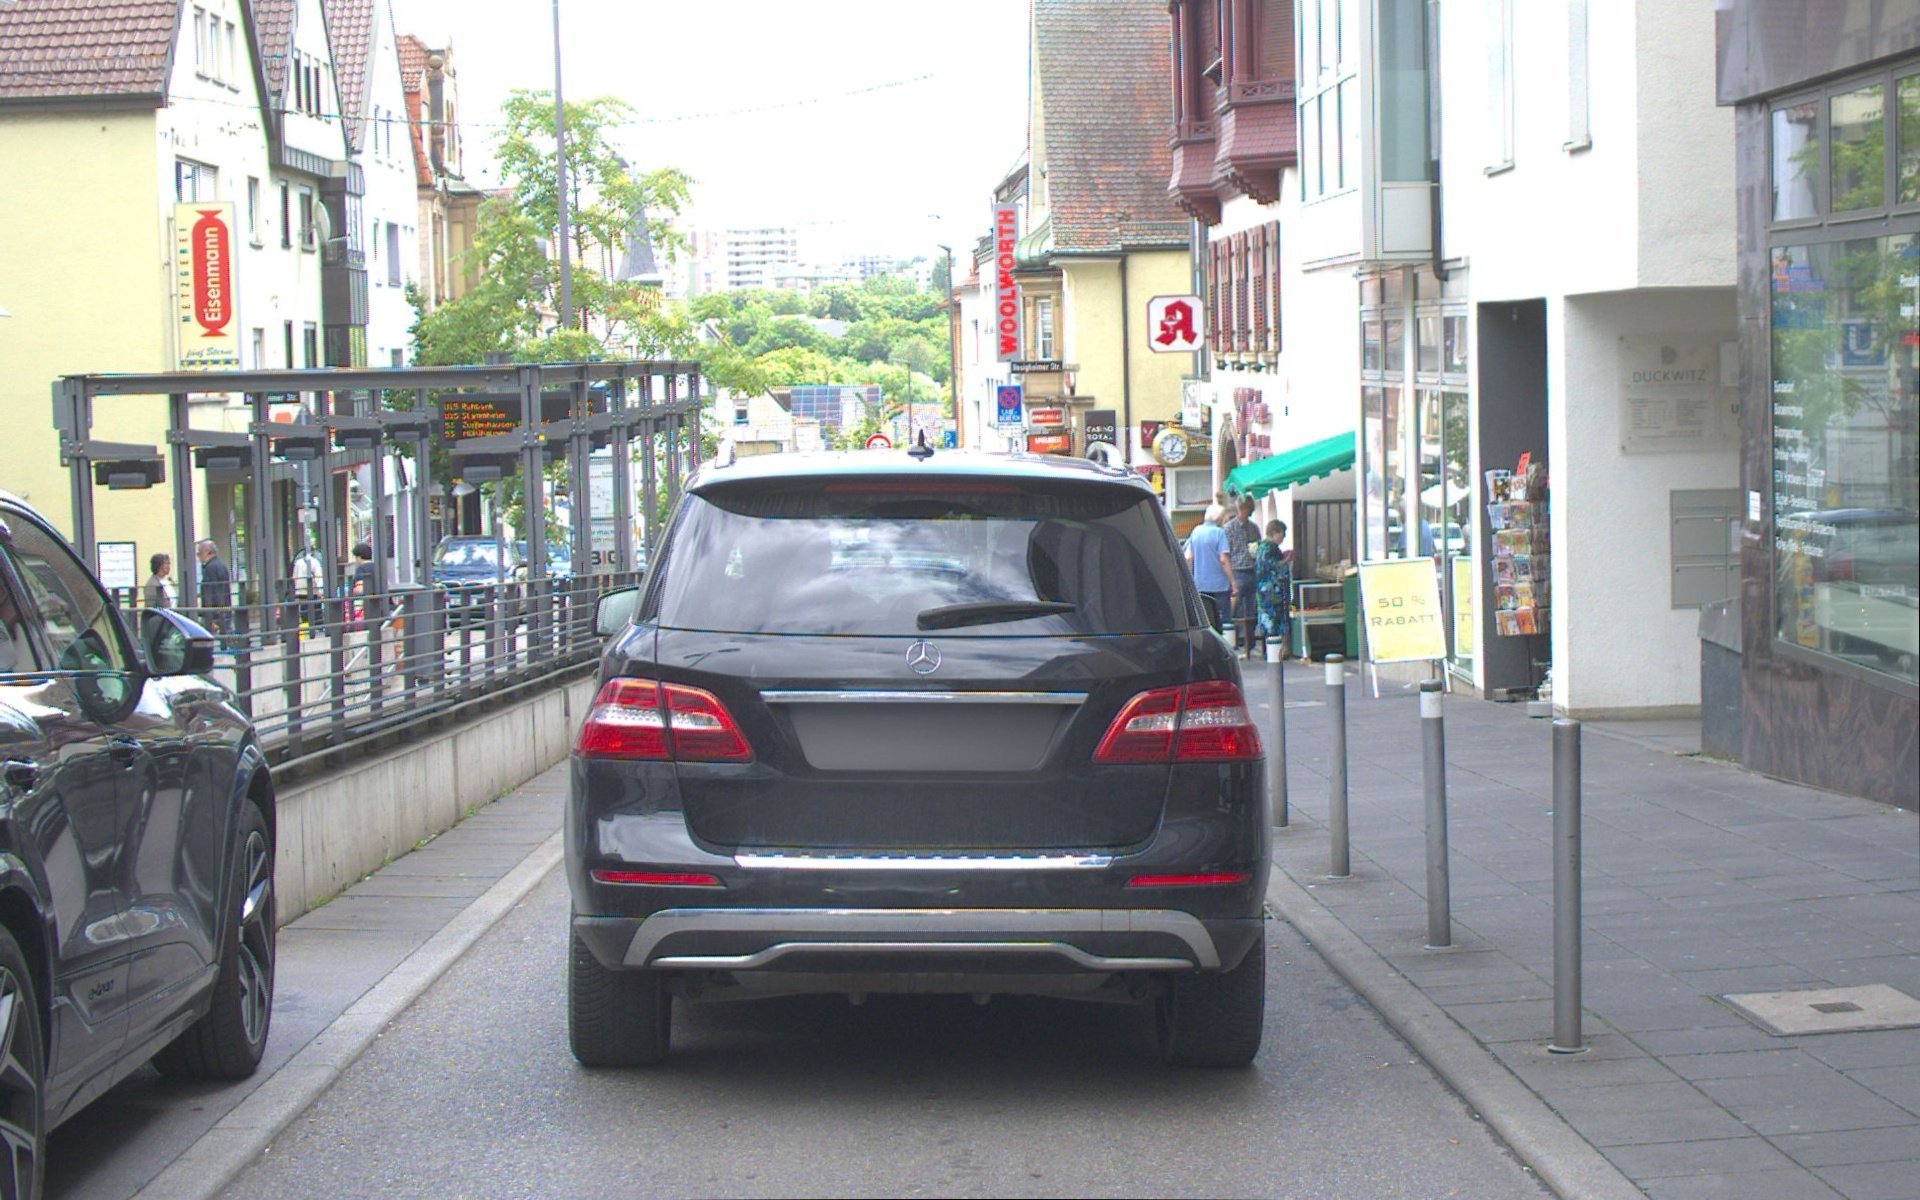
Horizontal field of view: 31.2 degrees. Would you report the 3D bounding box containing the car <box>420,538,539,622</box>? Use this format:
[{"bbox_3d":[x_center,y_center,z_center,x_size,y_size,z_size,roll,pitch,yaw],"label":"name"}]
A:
[{"bbox_3d":[-8.843,-0.390,63.538,1.689,1.485,3.979,1,1,-1],"label":"car"}]

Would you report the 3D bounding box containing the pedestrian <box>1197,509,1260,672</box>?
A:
[{"bbox_3d":[2.870,-0.104,36.806,0.542,1.720,0.528,-2,1,-7],"label":"pedestrian"}]

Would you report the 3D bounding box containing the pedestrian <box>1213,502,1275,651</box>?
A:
[{"bbox_3d":[3.226,-0.269,39.098,0.573,1.683,0.566,1,1,-7],"label":"pedestrian"}]

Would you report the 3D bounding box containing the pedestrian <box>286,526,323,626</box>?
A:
[{"bbox_3d":[-11.041,-0.409,57.945,0.513,1.683,0.541,1,1,-1],"label":"pedestrian"}]

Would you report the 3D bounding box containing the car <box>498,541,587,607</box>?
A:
[{"bbox_3d":[-9.746,-0.619,80.443,1.660,1.485,3.748,1,1,-1],"label":"car"}]

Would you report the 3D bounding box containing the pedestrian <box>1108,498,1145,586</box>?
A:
[{"bbox_3d":[3.209,-1.116,66.273,0.606,1.683,0.724,-1,1,-1],"label":"pedestrian"}]

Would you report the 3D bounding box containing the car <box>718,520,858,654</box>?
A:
[{"bbox_3d":[-2.287,-0.203,46.512,1.770,1.707,4.000,1,1,-1],"label":"car"}]

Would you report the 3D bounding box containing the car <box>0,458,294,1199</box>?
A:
[{"bbox_3d":[-2.763,0.529,7.425,1.956,1.634,4.315,1,1,-2],"label":"car"}]

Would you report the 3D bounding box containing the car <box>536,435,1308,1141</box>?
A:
[{"bbox_3d":[-0.189,0.440,10.563,1.900,1.741,4.001,1,1,-3],"label":"car"}]

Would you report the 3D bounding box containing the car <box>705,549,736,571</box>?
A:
[{"bbox_3d":[-12.299,-2.056,176.916,1.388,1.066,3.113,-1,1,-1],"label":"car"}]

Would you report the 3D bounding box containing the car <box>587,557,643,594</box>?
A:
[{"bbox_3d":[-10.344,-0.743,103.242,1.388,1.066,3.113,-1,1,-1],"label":"car"}]

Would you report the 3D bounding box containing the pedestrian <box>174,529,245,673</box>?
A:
[{"bbox_3d":[-8.887,0.011,40.699,0.612,1.683,0.563,0,1,-41],"label":"pedestrian"}]

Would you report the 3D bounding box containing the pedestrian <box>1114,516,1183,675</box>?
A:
[{"bbox_3d":[2.017,-0.047,36.835,0.621,1.683,0.566,1,1,-7],"label":"pedestrian"}]

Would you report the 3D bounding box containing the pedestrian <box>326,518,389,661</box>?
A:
[{"bbox_3d":[-7.163,-0.132,40.900,0.625,1.683,0.679,1,1,-1],"label":"pedestrian"}]

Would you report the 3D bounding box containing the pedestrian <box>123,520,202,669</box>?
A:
[{"bbox_3d":[-9.148,-0.071,39.458,0.725,1.683,0.768,1,1,-1],"label":"pedestrian"}]

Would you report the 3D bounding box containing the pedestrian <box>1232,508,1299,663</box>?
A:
[{"bbox_3d":[3.389,-0.166,38.142,0.573,1.683,0.566,-2,1,-7],"label":"pedestrian"}]
